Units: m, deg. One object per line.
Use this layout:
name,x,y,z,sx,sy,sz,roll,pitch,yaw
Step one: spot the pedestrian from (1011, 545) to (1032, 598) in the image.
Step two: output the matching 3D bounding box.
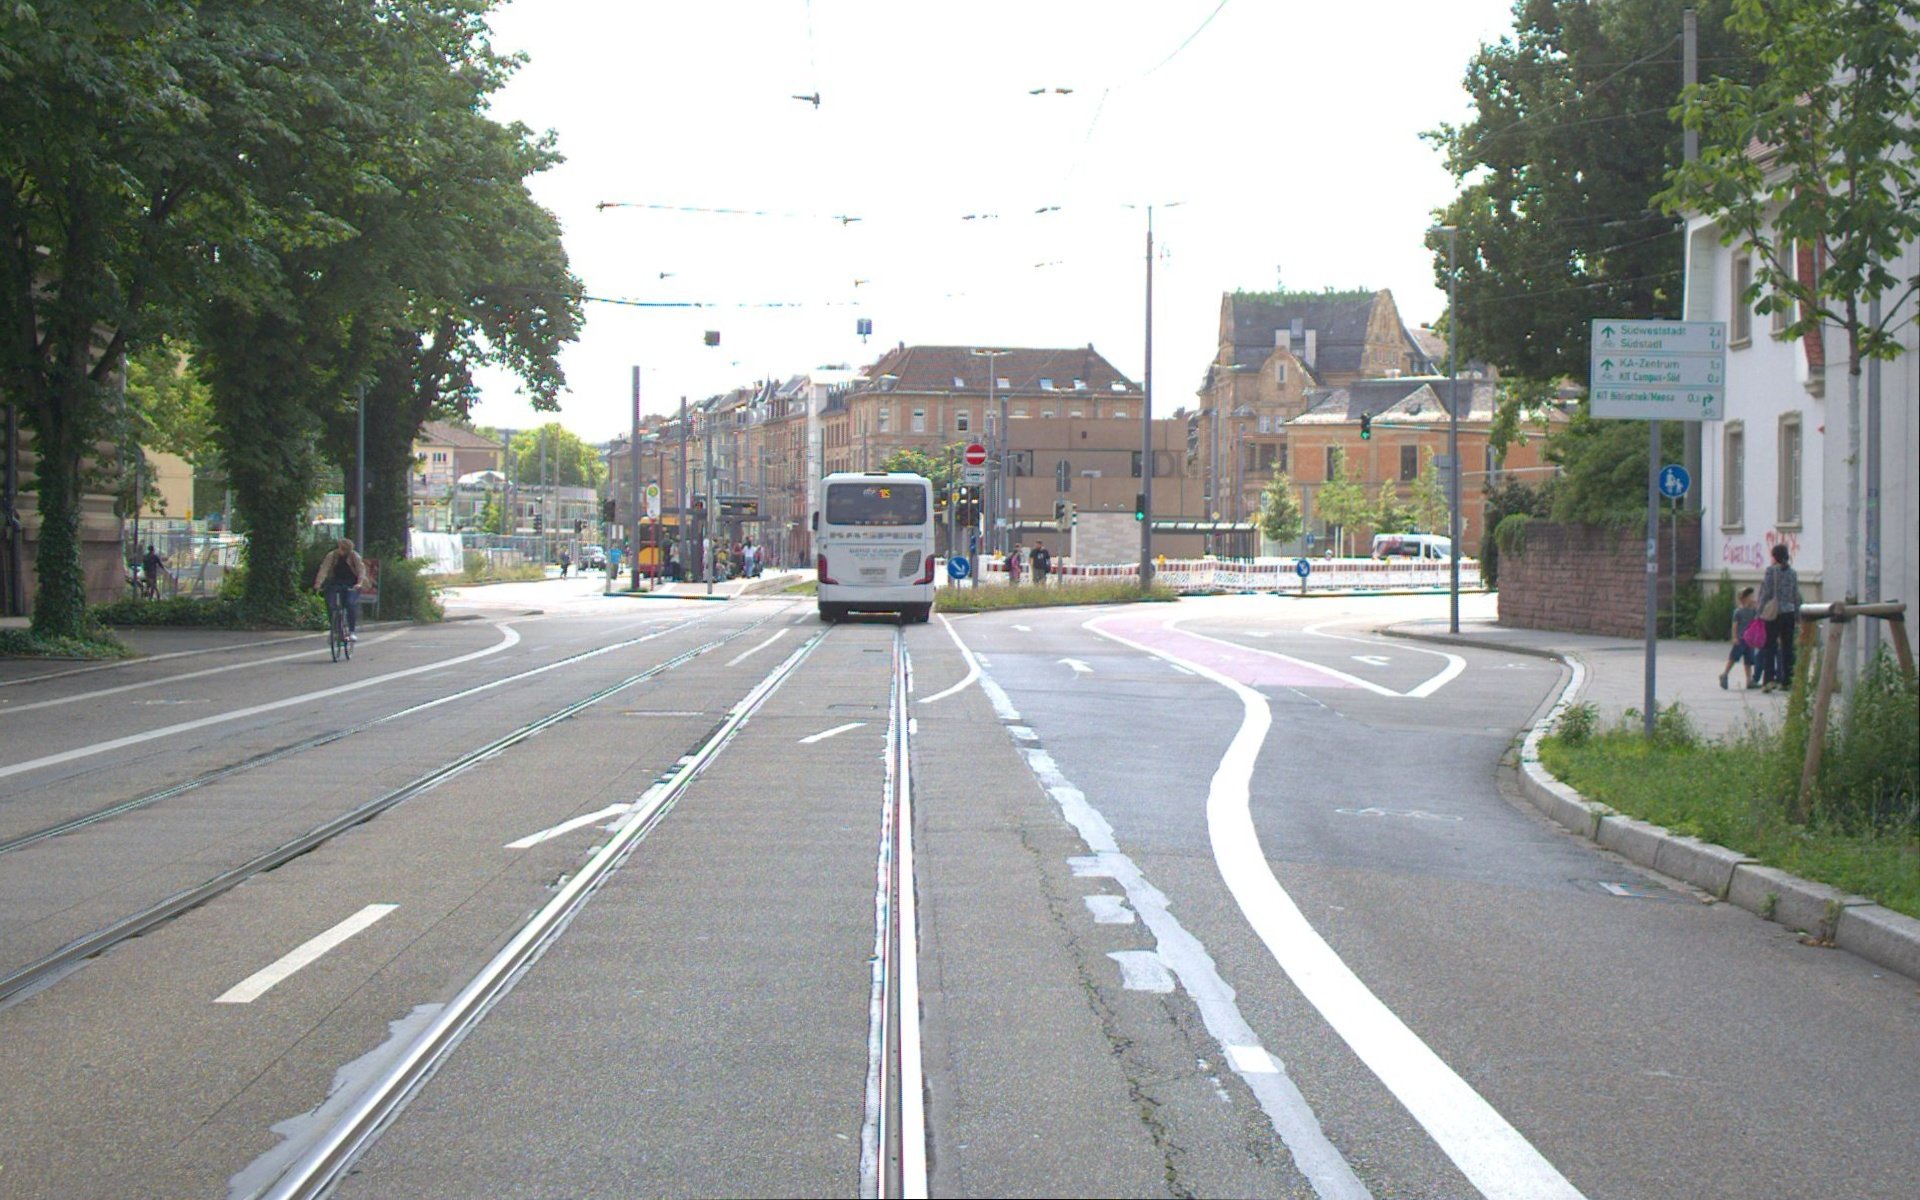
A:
pedestrian,2.011,-0.952,112.811,0.409,1.730,0.620,1,1,31

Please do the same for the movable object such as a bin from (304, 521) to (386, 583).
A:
movable object such as a bin,-25.962,-2.009,145.182,2.642,2.565,4.000,0,1,1

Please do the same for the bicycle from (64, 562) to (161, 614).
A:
bicycle,-20.210,-0.288,81.972,2.114,1.164,0.730,1,0,-2

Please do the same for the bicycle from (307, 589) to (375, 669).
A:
bicycle,-8.351,0.382,46.438,0.698,1.014,1.820,-1,1,-4

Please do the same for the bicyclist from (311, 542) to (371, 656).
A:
bicyclist,-8.352,-0.016,46.410,0.691,1.514,0.868,-1,1,-4

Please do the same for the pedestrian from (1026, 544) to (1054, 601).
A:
pedestrian,2.636,-0.916,113.483,0.612,1.878,0.792,1,1,33

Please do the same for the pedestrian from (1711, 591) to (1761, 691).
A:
pedestrian,9.513,0.495,42.120,0.421,1.196,0.406,-3,2,-33

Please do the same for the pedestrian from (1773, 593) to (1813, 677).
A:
pedestrian,10.131,0.423,41.819,0.342,1.007,0.397,-1,2,-10

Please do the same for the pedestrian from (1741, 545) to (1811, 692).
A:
pedestrian,9.727,0.213,41.010,0.685,1.718,0.747,-1,2,5

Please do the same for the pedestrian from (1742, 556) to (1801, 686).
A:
pedestrian,10.031,0.251,42.517,0.519,1.575,0.549,-2,2,-10

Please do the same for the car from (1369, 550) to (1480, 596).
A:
car,23.459,-1.378,173.896,2.294,2.311,5.587,0,1,-37

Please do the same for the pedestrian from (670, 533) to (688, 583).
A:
pedestrian,-10.614,-1.596,129.751,0.611,1.878,0.794,0,1,0

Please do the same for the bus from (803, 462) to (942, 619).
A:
bus,-2.062,-1.324,79.883,2.917,3.317,12.207,1,0,-2

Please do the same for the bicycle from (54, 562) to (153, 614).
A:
bicycle,-20.115,-0.277,80.774,2.114,1.164,0.730,1,0,-2

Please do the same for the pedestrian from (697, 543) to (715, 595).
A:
pedestrian,-9.230,-1.133,125.034,0.611,1.878,0.794,0,1,0
